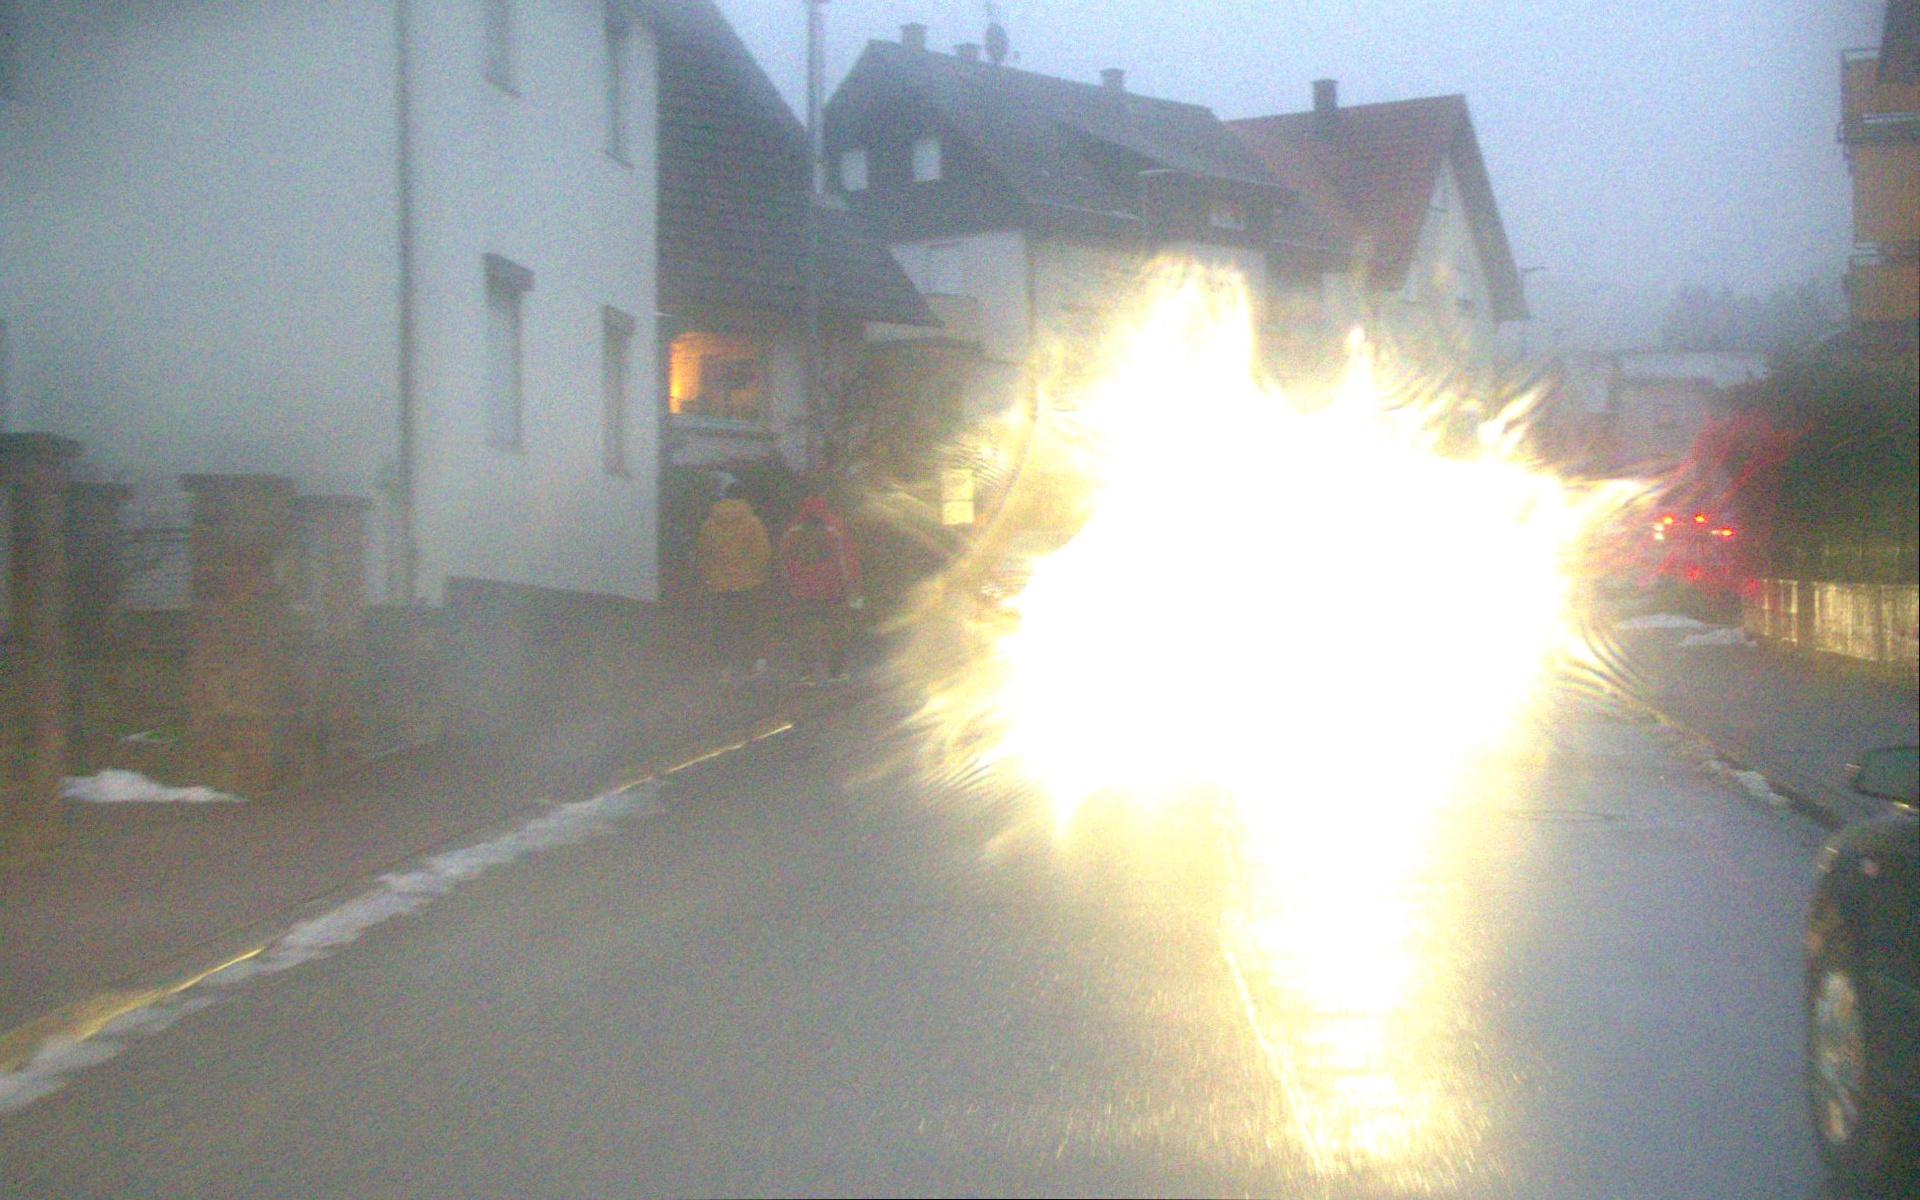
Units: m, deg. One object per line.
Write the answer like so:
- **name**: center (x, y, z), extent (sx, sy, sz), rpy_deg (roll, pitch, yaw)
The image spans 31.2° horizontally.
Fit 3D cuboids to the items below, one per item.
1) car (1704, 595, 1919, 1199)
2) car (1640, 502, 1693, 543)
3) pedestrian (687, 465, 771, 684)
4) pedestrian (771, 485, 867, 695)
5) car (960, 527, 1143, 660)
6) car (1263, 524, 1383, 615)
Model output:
- **car**: center (2.805, 0.721, 6.775), extent (1.726, 1.427, 4.798), rpy_deg (0, 0, 1)
- **car**: center (29.320, -3.213, 142.675), extent (1.994, 1.612, 3.998), rpy_deg (1, 0, 10)
- **pedestrian**: center (-1.988, -0.221, 29.688), extent (0.598, 1.863, 0.812), rpy_deg (0, 0, 5)
- **pedestrian**: center (-1.205, -0.091, 29.545), extent (0.706, 1.773, 0.812), rpy_deg (0, 0, 6)
- **car**: center (1.110, -0.116, 39.916), extent (1.823, 1.435, 4.067), rpy_deg (0, 1, 6)
- **car**: center (6.510, -0.542, 61.366), extent (1.758, 1.575, 3.998), rpy_deg (0, 0, 12)
